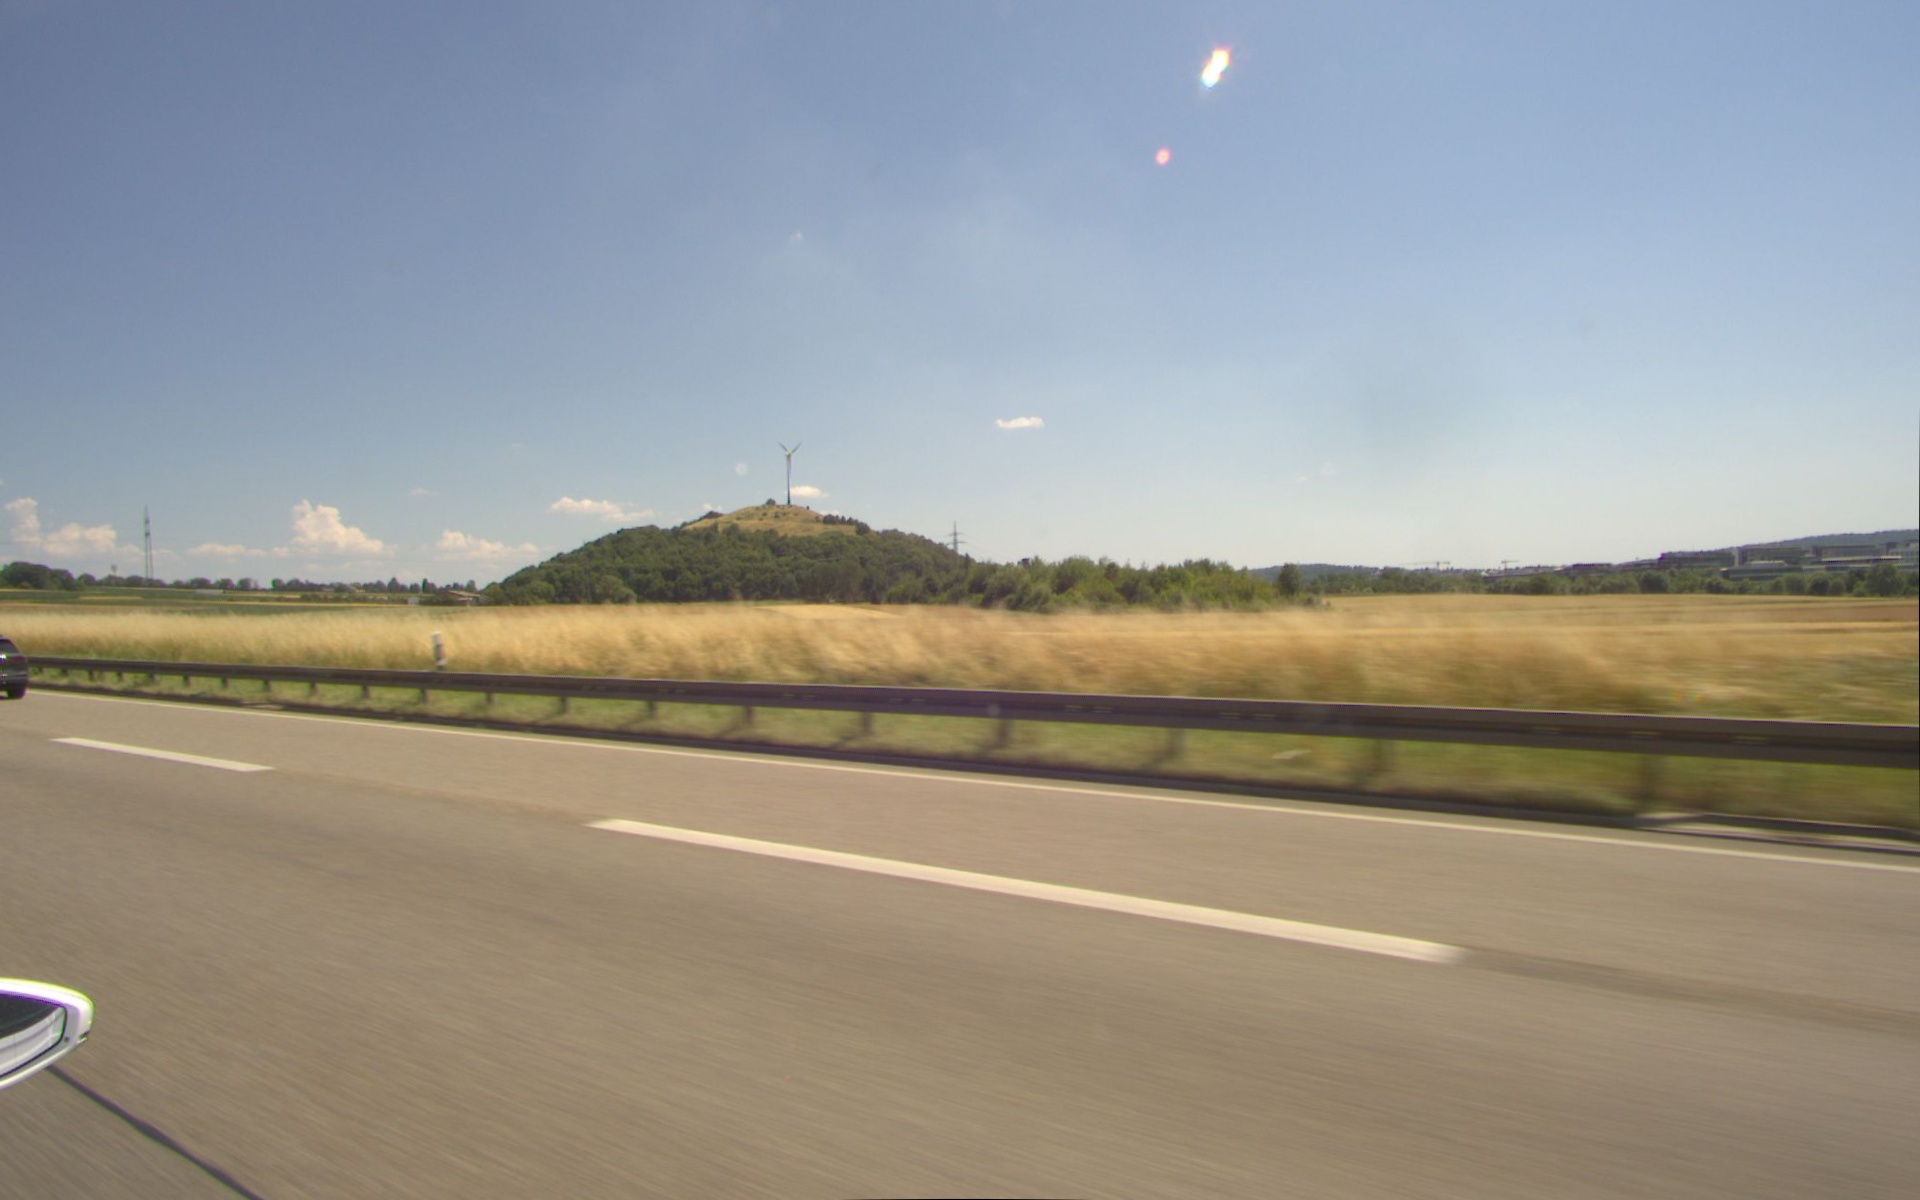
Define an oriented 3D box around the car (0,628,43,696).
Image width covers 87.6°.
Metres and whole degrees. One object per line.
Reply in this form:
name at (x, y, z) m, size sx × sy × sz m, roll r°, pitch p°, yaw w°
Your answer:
car at (-22.786, 1.388, 22.856) m, size 4.475 × 1.489 × 1.757 m, roll -1°, pitch -2°, yaw 34°
